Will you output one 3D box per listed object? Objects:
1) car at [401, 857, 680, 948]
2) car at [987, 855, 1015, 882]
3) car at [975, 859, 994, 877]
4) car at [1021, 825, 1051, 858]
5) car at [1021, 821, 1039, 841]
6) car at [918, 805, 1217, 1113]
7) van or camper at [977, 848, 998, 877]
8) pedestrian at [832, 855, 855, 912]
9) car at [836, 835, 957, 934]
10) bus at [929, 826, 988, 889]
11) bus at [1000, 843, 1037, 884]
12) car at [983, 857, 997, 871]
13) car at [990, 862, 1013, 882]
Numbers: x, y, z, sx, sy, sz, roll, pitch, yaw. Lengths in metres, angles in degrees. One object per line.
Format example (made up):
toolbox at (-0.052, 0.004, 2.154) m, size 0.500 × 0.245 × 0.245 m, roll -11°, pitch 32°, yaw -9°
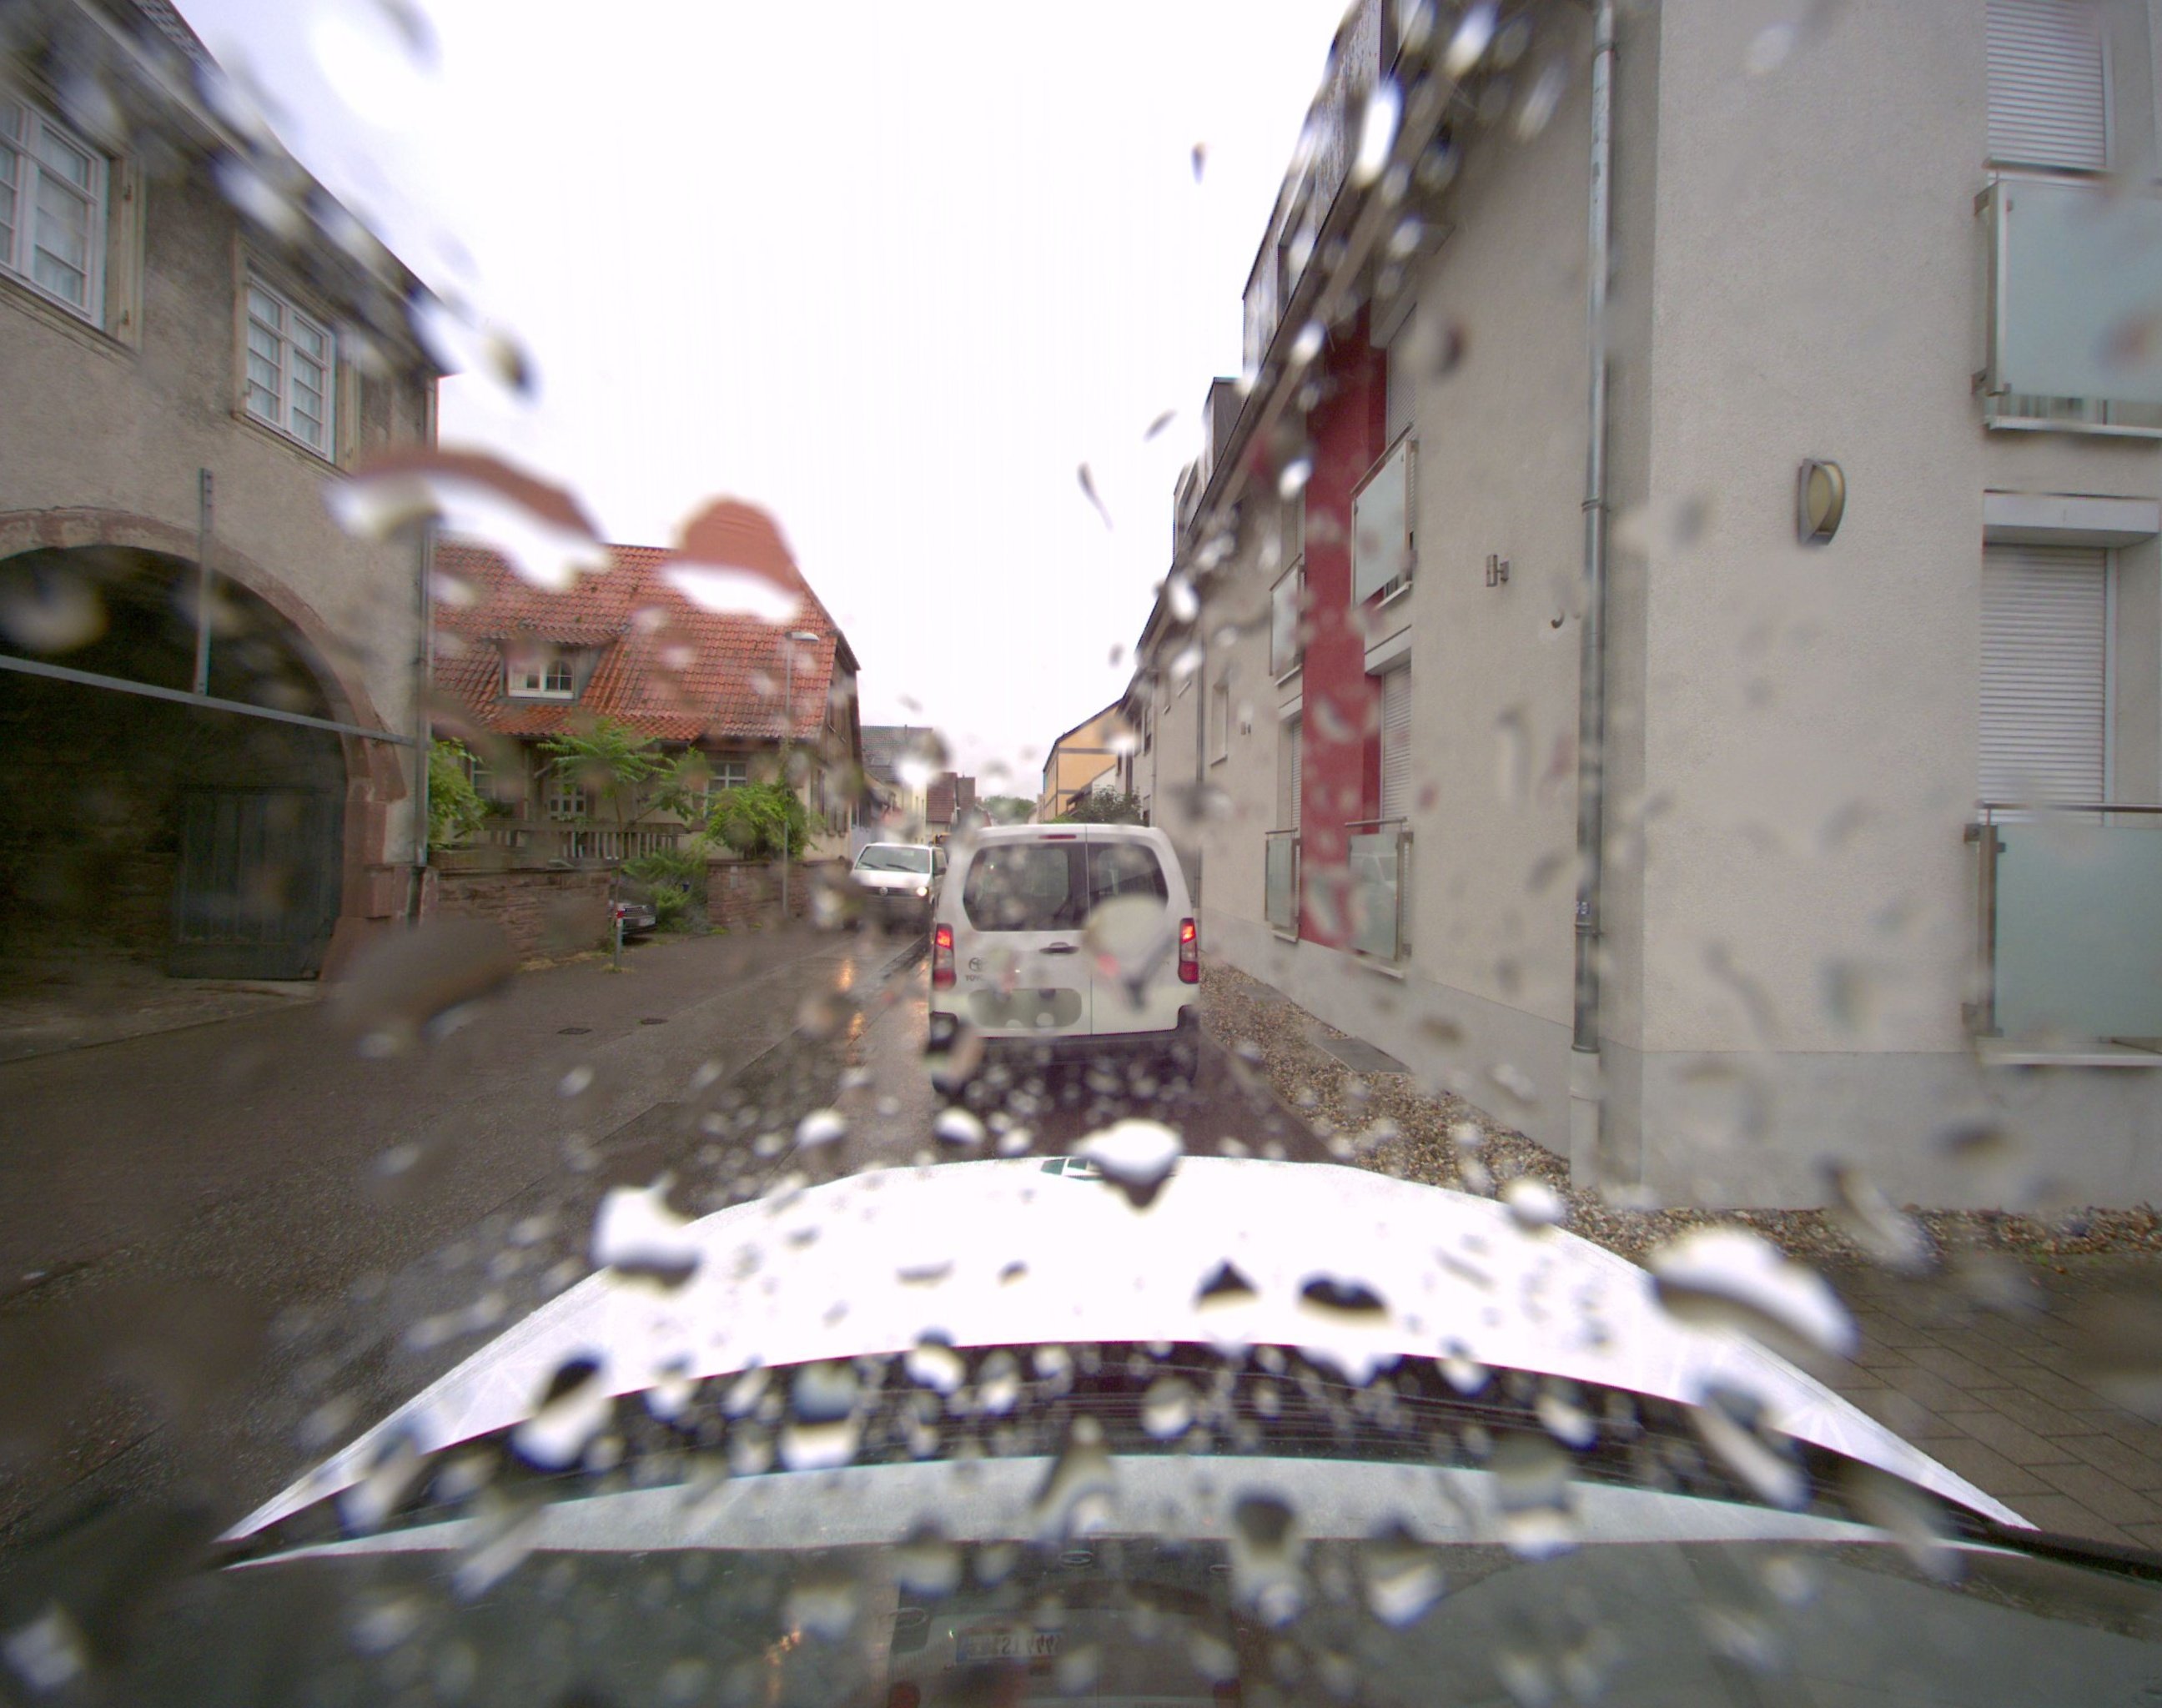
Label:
car at (-8.893, 0.770, 13.632) m, size 3.519 × 1.376 × 1.593 m, roll 1°, pitch 0°, yaw -3°
car at (-4.736, 0.870, 48.520) m, size 1.559 × 1.480 × 3.579 m, roll 2°, pitch -1°, yaw -4°
car at (-9.683, 1.422, 82.003) m, size 1.575 × 1.724 × 3.546 m, roll 2°, pitch -1°, yaw -3°
car at (-3.053, -0.808, 54.515) m, size 1.824 × 2.014 × 3.687 m, roll 2°, pitch -1°, yaw -5°
car at (-5.855, -2.593, 93.373) m, size 1.989 × 2.014 × 3.994 m, roll 2°, pitch -1°, yaw -3°
car at (-0.238, 0.648, 6.971) m, size 1.792 × 1.819 × 4.094 m, roll -1°, pitch -1°, yaw -5°
van or camper at (-9.978, 0.908, 87.484) m, size 1.831 × 2.926 × 5.356 m, roll 2°, pitch -1°, yaw -3°
pedestrian at (-6.471, 0.798, 22.202) m, size 0.568 × 1.530 × 0.566 m, roll 0°, pitch -1°, yaw -14°
car at (-4.150, 0.673, 19.084) m, size 1.888 × 1.967 × 4.717 m, roll 2°, pitch -1°, yaw -3°
bus at (-7.122, 0.276, 48.250) m, size 2.788 × 3.329 × 8.163 m, roll 1°, pitch -1°, yaw -5°
bus at (-5.294, 0.852, 69.278) m, size 2.788 × 3.180 × 8.163 m, roll 3°, pitch -1°, yaw -5°
car at (-11.556, 1.321, 103.580) m, size 1.575 × 1.724 × 3.546 m, roll 2°, pitch -1°, yaw -3°
car at (-5.807, 1.317, 59.690) m, size 1.559 × 1.372 × 3.579 m, roll 2°, pitch -1°, yaw -4°
